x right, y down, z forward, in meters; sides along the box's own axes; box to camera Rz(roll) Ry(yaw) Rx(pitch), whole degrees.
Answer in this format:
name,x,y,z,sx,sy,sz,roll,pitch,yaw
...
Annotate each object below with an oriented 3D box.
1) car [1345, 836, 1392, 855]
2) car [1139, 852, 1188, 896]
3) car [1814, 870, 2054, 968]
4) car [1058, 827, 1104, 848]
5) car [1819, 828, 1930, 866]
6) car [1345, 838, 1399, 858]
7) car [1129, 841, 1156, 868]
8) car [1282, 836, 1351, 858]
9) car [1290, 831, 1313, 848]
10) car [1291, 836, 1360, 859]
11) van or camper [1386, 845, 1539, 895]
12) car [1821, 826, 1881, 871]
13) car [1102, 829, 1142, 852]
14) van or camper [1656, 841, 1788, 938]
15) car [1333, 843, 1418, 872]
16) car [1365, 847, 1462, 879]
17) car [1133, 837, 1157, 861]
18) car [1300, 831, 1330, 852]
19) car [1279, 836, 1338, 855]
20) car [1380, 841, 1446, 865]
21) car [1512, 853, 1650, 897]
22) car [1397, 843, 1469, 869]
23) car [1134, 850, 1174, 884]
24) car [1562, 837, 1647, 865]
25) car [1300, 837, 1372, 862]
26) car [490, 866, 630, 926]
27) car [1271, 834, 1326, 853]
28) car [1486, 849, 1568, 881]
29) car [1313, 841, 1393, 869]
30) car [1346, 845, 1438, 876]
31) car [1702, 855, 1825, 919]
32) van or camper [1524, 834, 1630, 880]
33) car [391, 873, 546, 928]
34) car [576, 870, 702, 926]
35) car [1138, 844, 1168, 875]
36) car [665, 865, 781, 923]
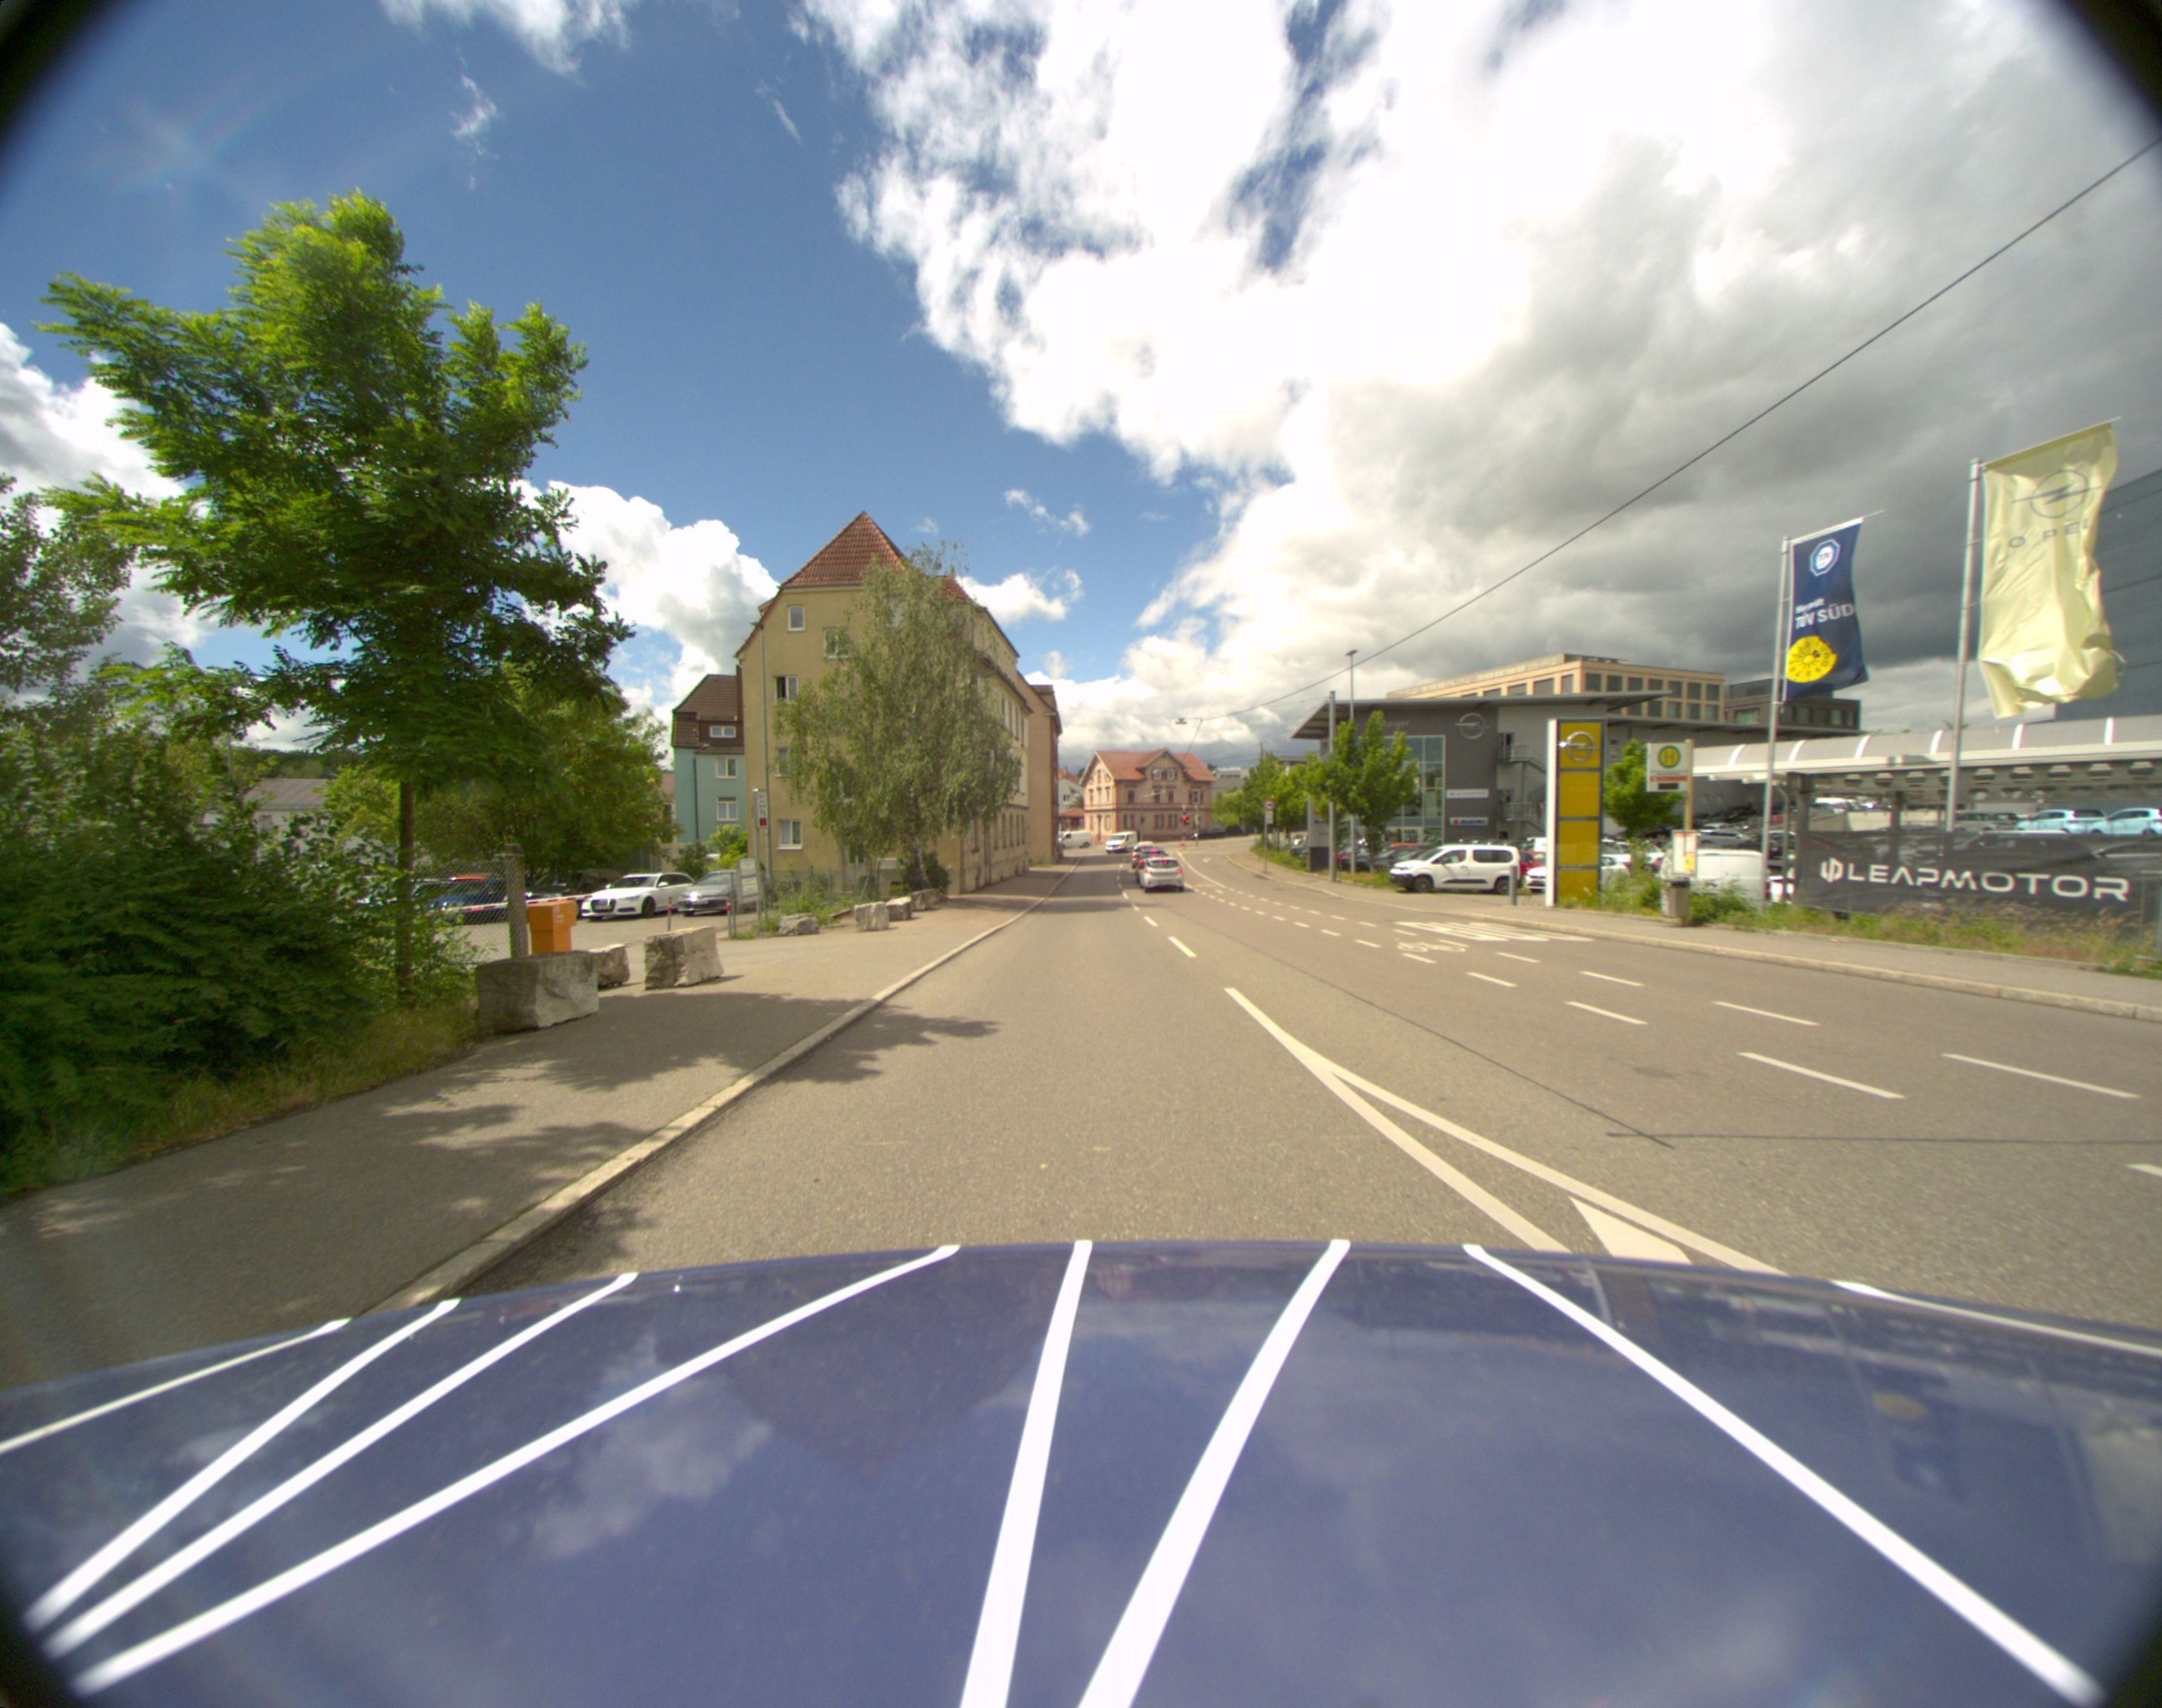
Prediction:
name,x,y,z,sx,sy,sz,roll,pitch,yaw
car,21.828,-0.671,57.744,3.017,1.366,1.518,0,2,3
car,3.582,0.835,33.559,1.723,1.573,3.998,-3,3,1
car,17.167,1.197,15.596,1.813,1.458,4.005,0,3,25
car,0.006,-1.915,87.216,4.820,2.001,1.996,-5,4,-21
car,45.251,-0.416,43.409,3.994,1.801,2.000,-4,3,9
car,20.953,-0.456,54.819,3.323,1.366,1.517,0,2,2
car,4.298,-0.011,52.602,1.722,1.573,4.317,-3,3,5
car,16.429,-0.517,53.212,4.289,1.489,1.812,0,2,2
car,21.689,-1.460,74.888,1.946,1.466,4.307,-2,3,13
car,16.273,-0.444,50.780,4.064,1.489,1.812,0,2,2
van or camper,14.016,0.575,28.177,4.677,1.740,2.000,0,2,6
car,39.026,-0.310,38.480,4.006,1.937,1.994,-7,5,-43
car,4.132,-1.363,75.998,1.995,1.982,4.995,-2,4,27
van or camper,15.585,0.738,18.746,1.984,1.952,4.967,-1,2,34
car,15.651,0.156,40.501,3.823,1.489,1.812,0,2,-1
car,15.435,0.398,35.368,3.708,1.401,1.794,0,2,-4
car,5.076,-0.423,60.017,1.722,1.573,3.999,-3,3,5
car,20.225,-1.140,65.763,1.946,1.554,3.996,-2,3,10
car,17.428,-0.635,58.295,4.075,1.386,1.813,0,2,6
car,19.849,-0.078,45.532,3.323,1.366,1.517,0,2,2
car,19.090,0.744,29.050,4.526,1.428,2.009,-1,2,-18
car,19.782,0.093,42.791,3.323,1.366,1.517,0,2,2
car,3.723,0.634,39.292,1.723,1.476,3.321,-3,3,1
car,26.982,-0.168,39.226,3.323,1.366,1.517,0,2,2
car,16.125,-0.286,48.173,3.991,1.489,1.812,0,2,2
car,-17.253,1.332,25.463,1.875,1.615,4.279,-2,2,-4
car,17.420,-0.832,61.001,3.995,1.489,1.813,0,2,6
car,19.267,0.428,32.994,1.544,1.246,3.474,0,2,1
car,15.316,0.053,42.876,3.858,1.489,1.812,0,2,1
car,15.405,0.293,37.736,3.843,1.453,1.772,0,2,0
car,19.615,0.871,21.797,4.007,1.458,1.813,-3,3,-36
van or camper,23.187,0.065,35.785,1.998,2.002,4.684,0,2,2
car,-20.349,1.488,25.537,1.875,1.442,4.279,-2,2,-4
car,-14.564,1.394,25.348,1.875,1.443,4.279,-2,2,-4
car,4.403,0.308,46.529,1.722,1.573,4.250,-3,3,5
car,-11.786,1.251,25.338,1.720,1.383,4.140,-4,3,1
